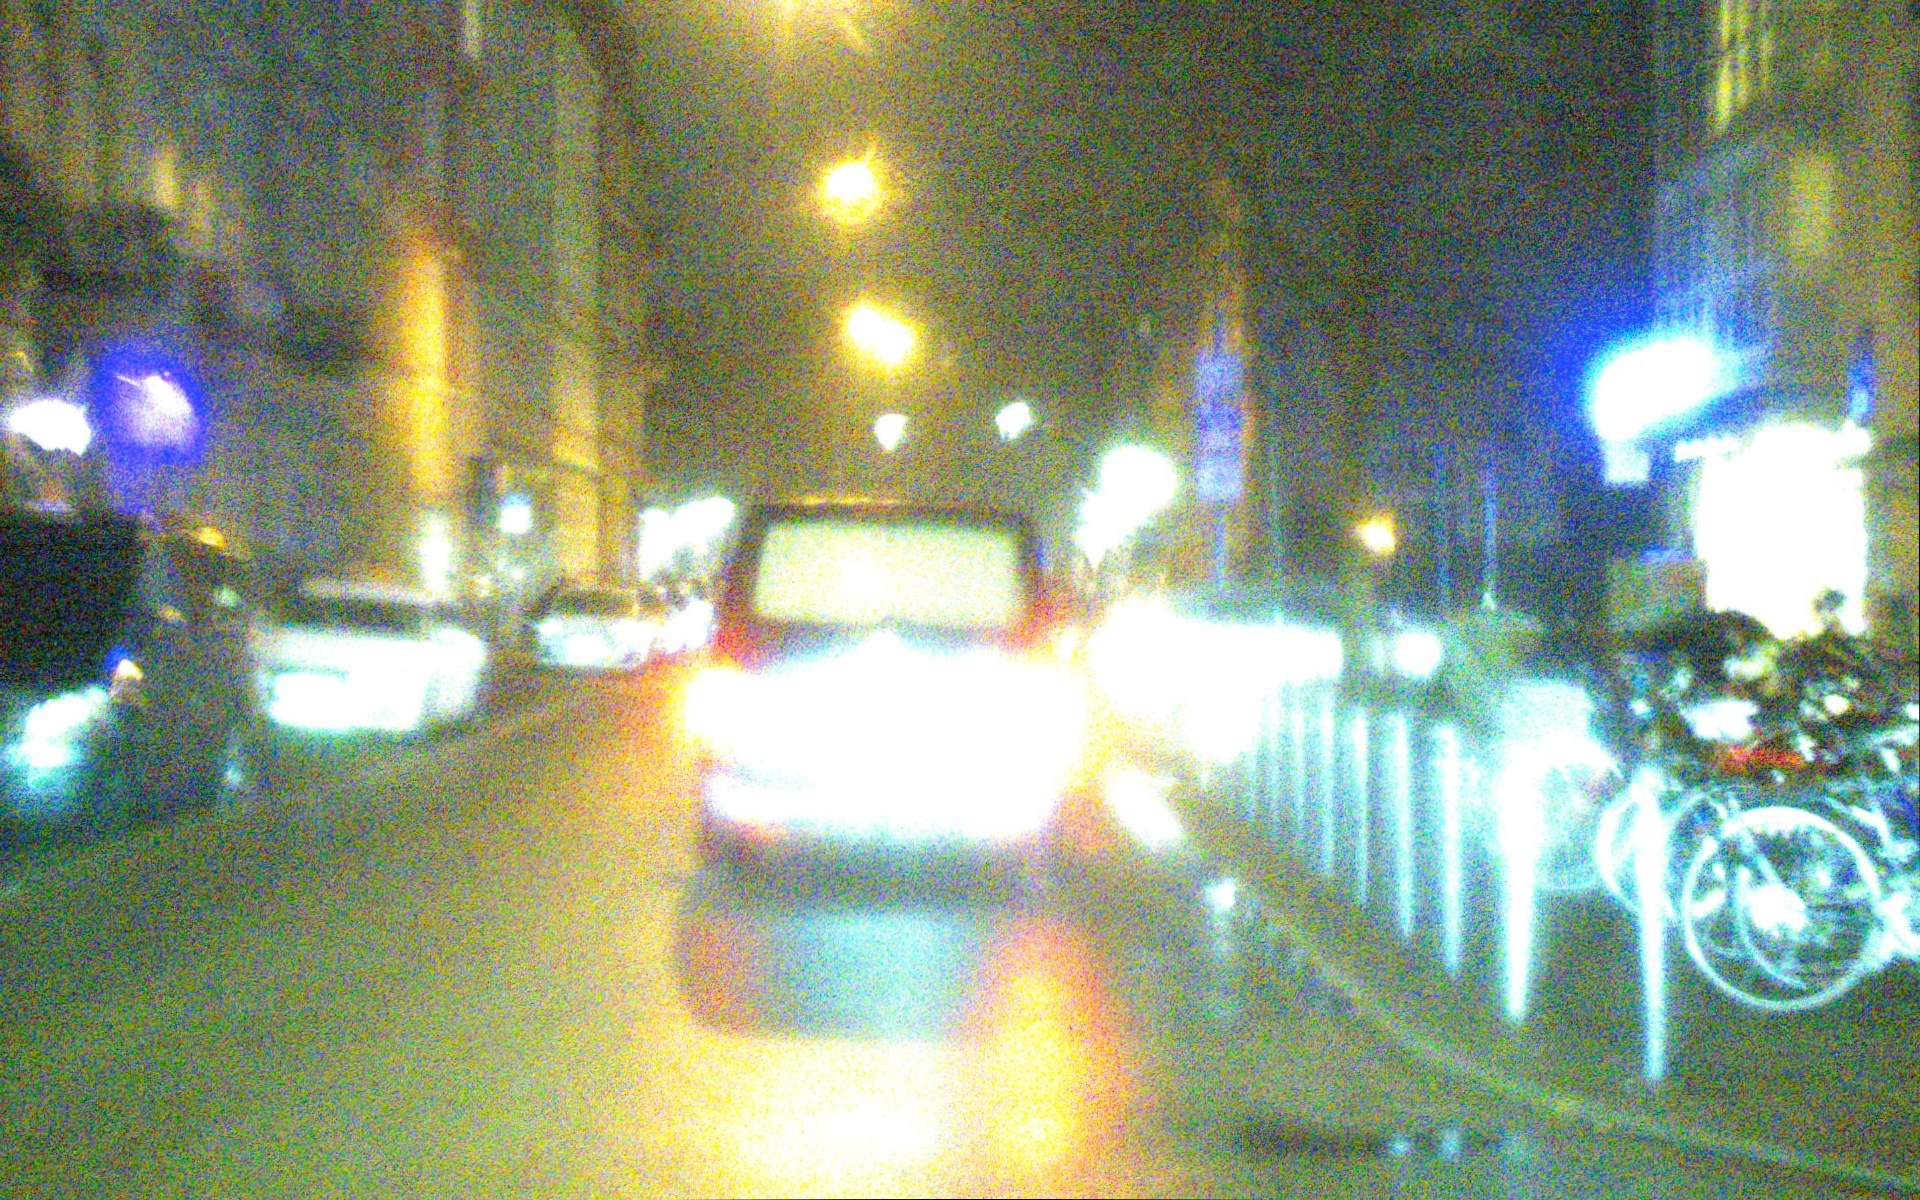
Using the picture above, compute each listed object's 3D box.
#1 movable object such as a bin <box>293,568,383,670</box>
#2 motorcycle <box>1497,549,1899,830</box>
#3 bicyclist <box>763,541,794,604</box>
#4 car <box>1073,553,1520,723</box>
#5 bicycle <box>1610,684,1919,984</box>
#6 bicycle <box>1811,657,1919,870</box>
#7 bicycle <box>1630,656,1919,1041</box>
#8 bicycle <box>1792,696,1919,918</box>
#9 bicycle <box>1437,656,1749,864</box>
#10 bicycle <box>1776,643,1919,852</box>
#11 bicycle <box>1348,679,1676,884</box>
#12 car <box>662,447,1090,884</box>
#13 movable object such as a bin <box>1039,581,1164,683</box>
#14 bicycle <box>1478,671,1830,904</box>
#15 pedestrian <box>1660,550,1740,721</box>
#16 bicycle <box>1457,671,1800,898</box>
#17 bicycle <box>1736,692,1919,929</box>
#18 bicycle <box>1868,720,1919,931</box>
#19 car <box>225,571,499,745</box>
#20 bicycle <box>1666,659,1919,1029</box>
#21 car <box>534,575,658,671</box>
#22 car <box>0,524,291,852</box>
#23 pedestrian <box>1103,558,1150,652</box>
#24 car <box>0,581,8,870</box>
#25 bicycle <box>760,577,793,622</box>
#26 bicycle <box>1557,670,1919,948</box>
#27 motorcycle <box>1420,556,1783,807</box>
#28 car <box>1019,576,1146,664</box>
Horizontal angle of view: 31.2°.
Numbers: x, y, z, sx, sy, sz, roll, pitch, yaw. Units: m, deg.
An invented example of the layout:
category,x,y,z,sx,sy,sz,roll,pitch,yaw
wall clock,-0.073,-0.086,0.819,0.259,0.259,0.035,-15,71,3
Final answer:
category,x,y,z,sx,sy,sz,roll,pitch,yaw
movable object such as a bin,-9.079,0.266,50.250,1.101,1.449,1.379,-1,0,-2
motorcycle,4.493,0.537,21.037,2.172,1.542,0.867,-4,0,-1
bicyclist,-4.520,-0.682,85.479,0.718,1.551,0.895,-1,0,-1
car,3.545,0.389,36.765,4.512,1.525,1.780,-3,0,-1
bicycle,3.360,0.881,13.302,1.528,1.020,0.366,-6,0,-2
bicycle,4.895,0.721,16.351,1.528,0.949,0.366,-6,0,-5
bicycle,3.136,0.813,11.718,1.528,1.198,0.366,-6,-1,2
bicycle,4.692,0.902,15.880,1.528,0.949,0.366,-6,0,-4
bicycle,3.346,0.845,18.246,1.529,0.949,0.366,-6,0,7
bicycle,4.882,0.685,16.999,1.528,0.949,0.366,-6,0,-4
bicycle,3.004,0.990,18.787,1.670,0.949,0.366,-6,0,7
car,-0.400,0.280,18.482,1.996,2.042,4.694,0,1,0
movable object such as a bin,2.022,0.444,49.193,1.337,1.424,1.201,0,0,-37
bicycle,3.316,0.891,16.460,1.528,0.949,0.366,-6,0,-4
pedestrian,7.906,0.374,36.753,0.703,1.782,0.624,-2,1,3
bicycle,3.280,0.898,16.890,1.528,0.949,0.366,-6,0,-4
bicycle,4.244,0.883,15.060,1.529,0.949,0.366,-6,0,4
bicycle,4.584,0.863,14.162,1.529,0.831,0.325,-6,0,4
car,-5.792,0.511,33.823,1.767,1.478,4.772,3,1,0
bicycle,3.355,0.822,12.171,1.528,1.198,0.366,-6,0,-2
car,-5.969,0.354,56.708,1.672,1.486,3.722,1,0,-1
car,-5.733,0.457,21.733,1.996,1.823,5.207,0,1,0
pedestrian,3.239,0.091,66.845,0.862,1.782,1.083,-2,1,3
car,-5.622,0.650,15.616,1.569,1.455,3.720,0,1,0
bicycle,-4.555,-0.021,85.489,0.727,1.069,2.348,-1,0,-1
bicycle,3.376,0.882,14.609,1.529,1.020,0.366,-6,0,4
motorcycle,4.503,0.563,24.248,2.288,1.583,0.867,-4,0,-1
car,2.093,0.320,59.729,1.993,1.459,4.417,0,0,-1
